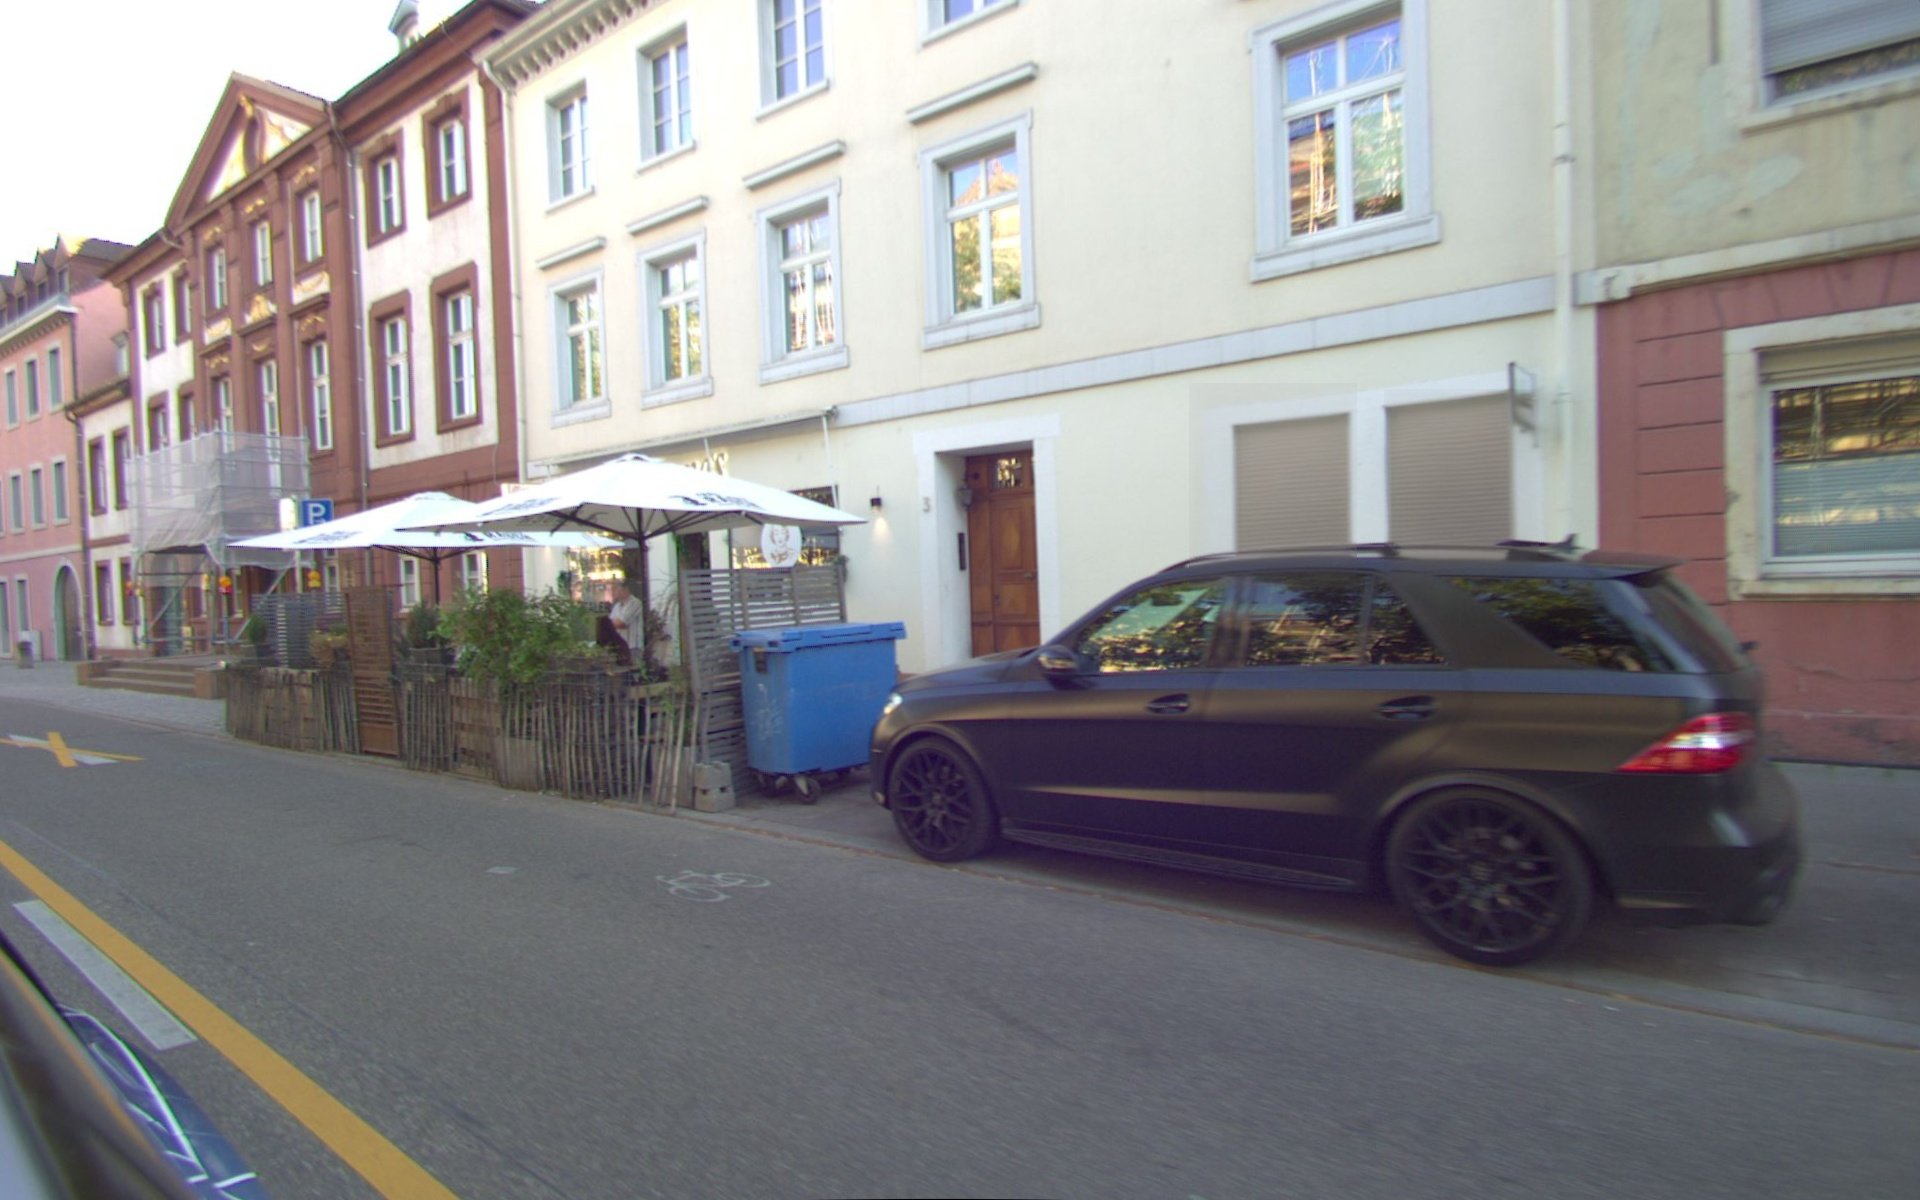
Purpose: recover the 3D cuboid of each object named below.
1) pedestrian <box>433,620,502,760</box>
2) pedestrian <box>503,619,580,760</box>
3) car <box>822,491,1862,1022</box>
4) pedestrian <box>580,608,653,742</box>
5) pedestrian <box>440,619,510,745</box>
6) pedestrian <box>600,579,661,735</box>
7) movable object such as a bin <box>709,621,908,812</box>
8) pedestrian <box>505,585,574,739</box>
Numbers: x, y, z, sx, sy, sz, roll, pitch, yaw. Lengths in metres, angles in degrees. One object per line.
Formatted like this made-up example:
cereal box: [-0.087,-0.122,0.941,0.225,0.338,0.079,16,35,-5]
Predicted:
pedestrian: [-5.336,0.953,10.972,0.502,1.444,0.465,-2,1,42]
pedestrian: [-4.350,0.911,10.526,0.487,1.401,0.519,-2,0,34]
car: [1.601,0.531,5.490,4.780,1.692,1.903,-2,0,39]
pedestrian: [-3.744,0.799,11.032,0.487,1.401,0.519,-2,0,34]
pedestrian: [-5.676,0.943,11.848,0.487,1.401,0.519,-2,0,34]
pedestrian: [-3.932,0.662,12.070,0.432,1.788,0.598,-2,0,-40]
movable object such as a bin: [-1.171,0.841,7.906,0.930,1.305,1.203,-2,0,42]
pedestrian: [-5.070,0.723,12.205,0.588,1.788,0.439,-2,0,-44]
